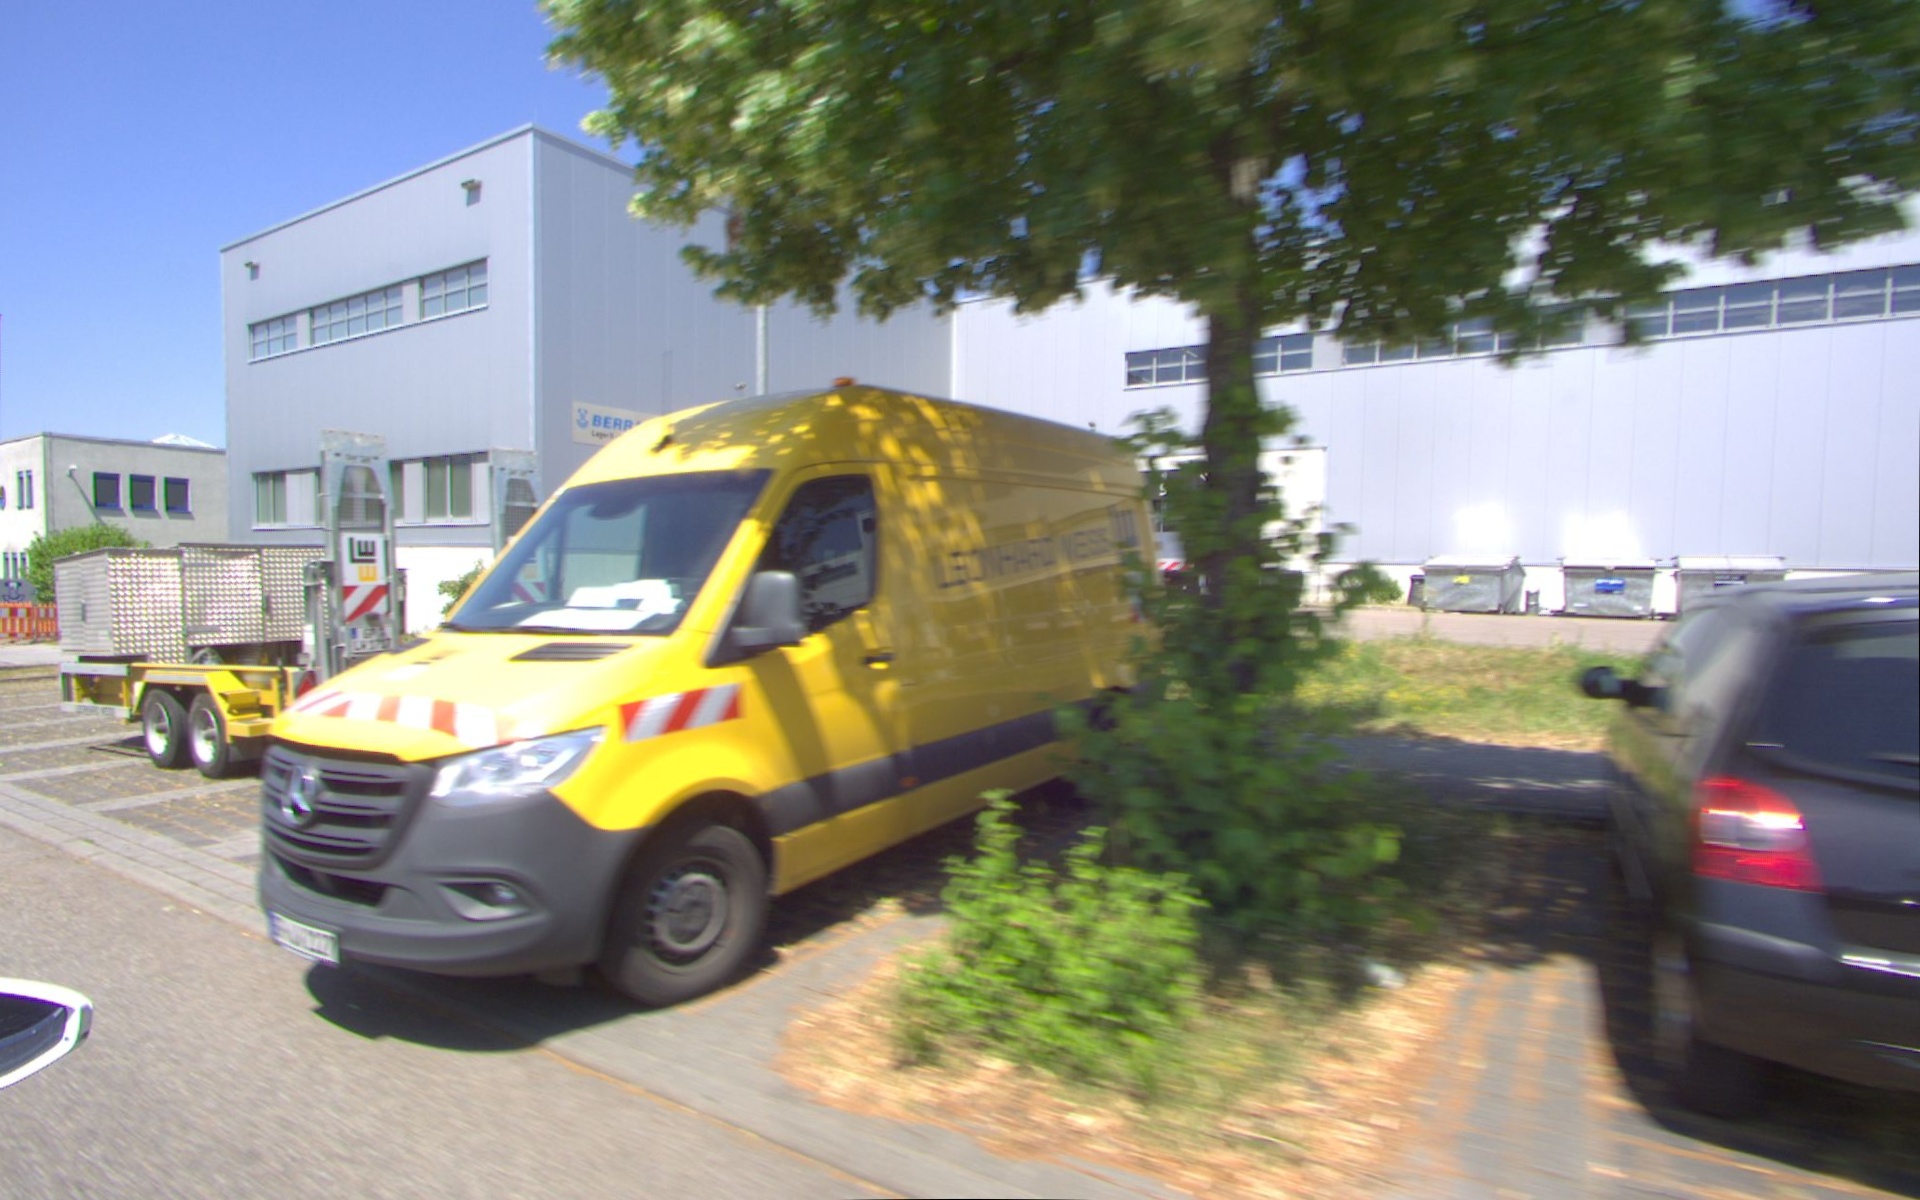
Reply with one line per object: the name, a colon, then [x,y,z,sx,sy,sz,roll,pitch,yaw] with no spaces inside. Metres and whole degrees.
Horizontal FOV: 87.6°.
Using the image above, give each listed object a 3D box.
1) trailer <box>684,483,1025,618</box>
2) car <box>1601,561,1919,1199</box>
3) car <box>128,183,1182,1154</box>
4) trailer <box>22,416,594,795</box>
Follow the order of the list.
trailer: [-2.449,-1.108,21.400,7.313,2.454,2.650,5,2,36]
car: [3.293,0.651,3.594,1.604,1.498,3.594,0,1,32]
car: [-0.756,0.040,5.772,1.972,2.772,5.758,2,5,35]
trailer: [-6.671,0.007,10.169,5.437,2.897,2.651,0,3,31]
